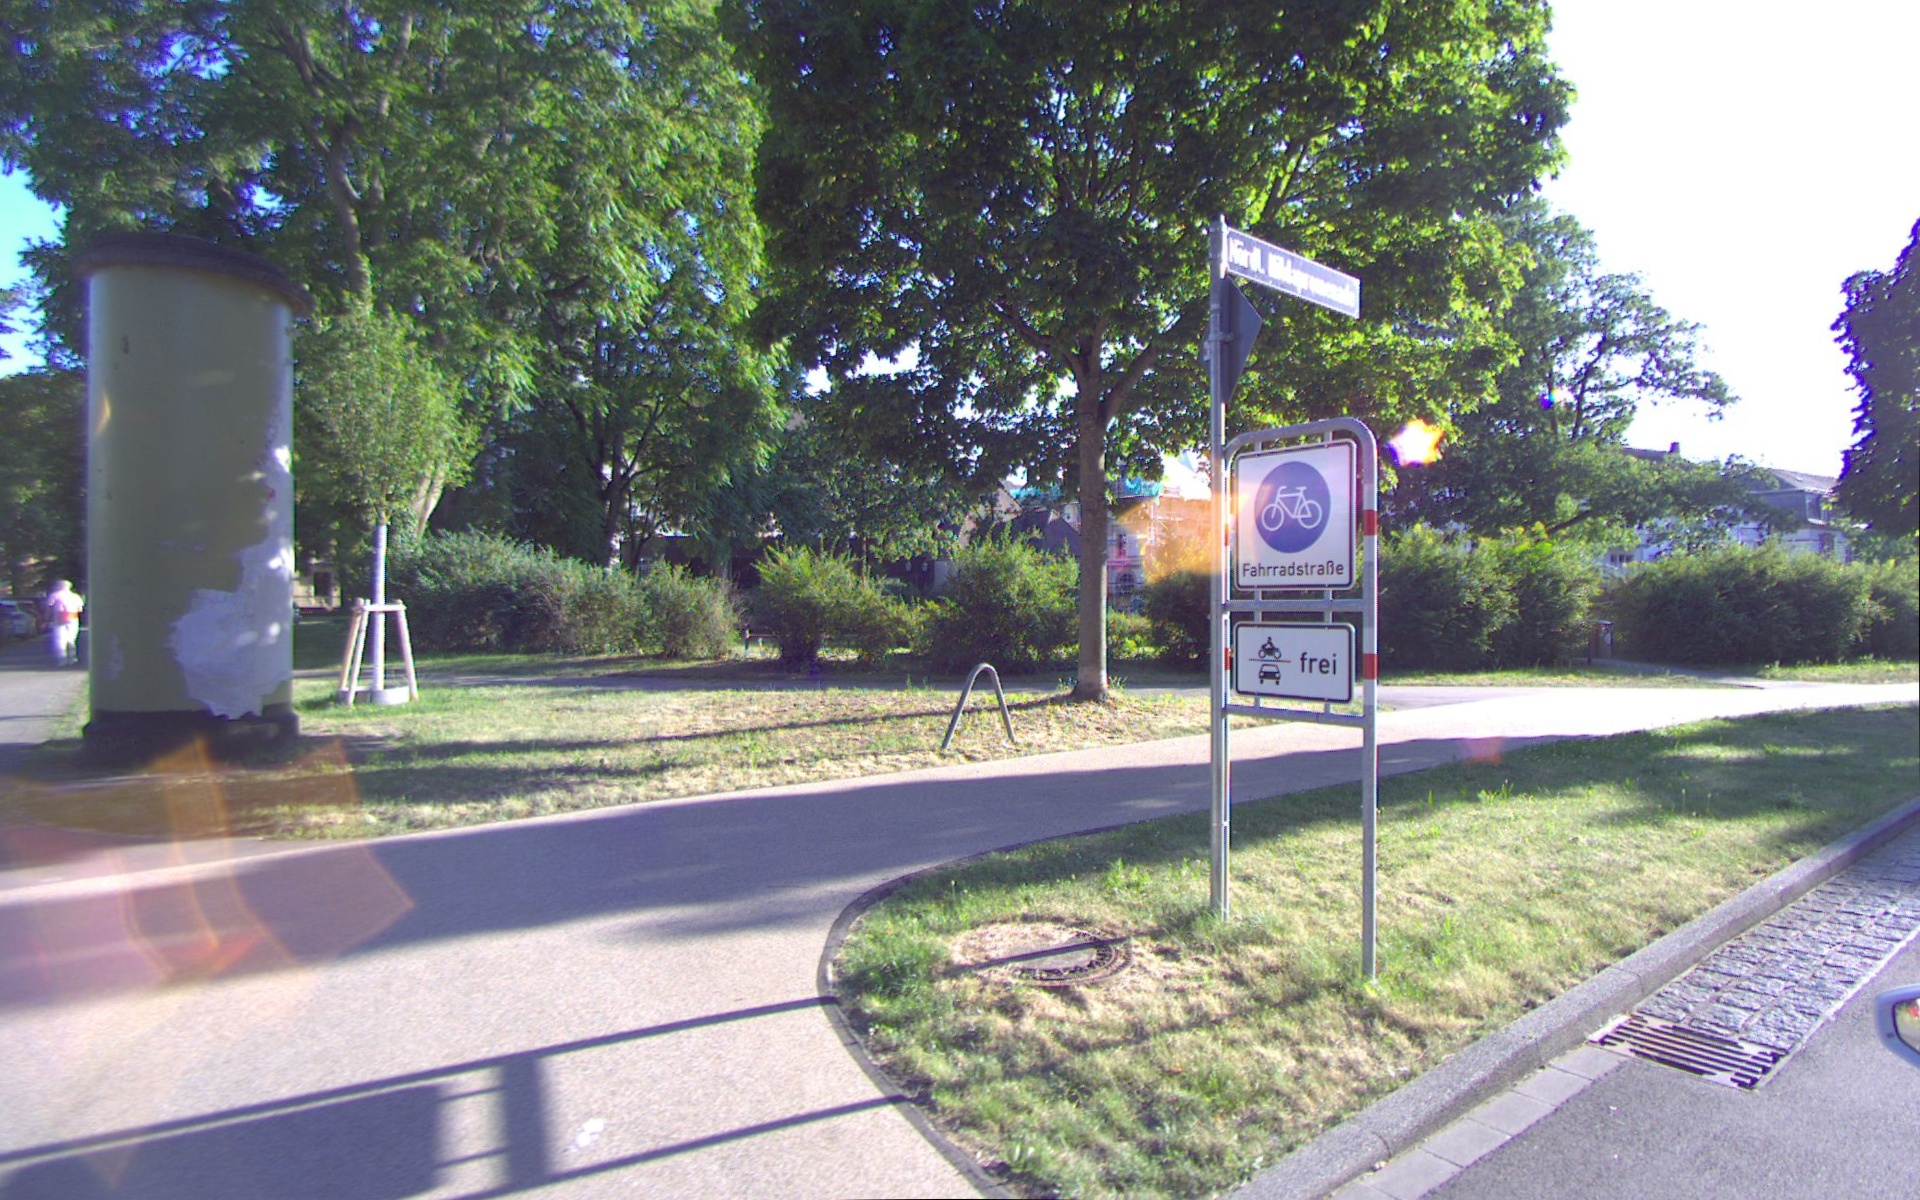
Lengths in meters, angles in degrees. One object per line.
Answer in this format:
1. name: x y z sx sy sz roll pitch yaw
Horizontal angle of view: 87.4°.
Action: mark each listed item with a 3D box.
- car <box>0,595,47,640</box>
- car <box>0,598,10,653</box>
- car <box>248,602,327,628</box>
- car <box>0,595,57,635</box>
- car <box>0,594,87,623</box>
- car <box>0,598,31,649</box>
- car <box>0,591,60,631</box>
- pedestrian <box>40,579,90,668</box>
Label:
1. car: -33.868 0.604 35.759 1.702 1.529 3.640 0 0 -37
2. car: -27.347 0.708 27.386 1.702 1.529 3.639 0 0 -37
3. car: -40.072 0.873 59.929 3.507 1.518 1.688 0 0 -4
4. car: -37.555 0.576 40.241 1.702 1.529 3.640 0 0 -37
5. car: -56.777 0.526 61.564 4.426 1.706 2.285 0 -3 -3
6. car: -30.459 0.715 31.405 1.702 1.529 3.640 0 0 -37
7. car: -40.939 0.452 44.187 1.702 1.705 3.640 0 0 -37
8. pedestrian: -18.130 0.471 20.369 0.710 1.761 0.739 0 1 -38
